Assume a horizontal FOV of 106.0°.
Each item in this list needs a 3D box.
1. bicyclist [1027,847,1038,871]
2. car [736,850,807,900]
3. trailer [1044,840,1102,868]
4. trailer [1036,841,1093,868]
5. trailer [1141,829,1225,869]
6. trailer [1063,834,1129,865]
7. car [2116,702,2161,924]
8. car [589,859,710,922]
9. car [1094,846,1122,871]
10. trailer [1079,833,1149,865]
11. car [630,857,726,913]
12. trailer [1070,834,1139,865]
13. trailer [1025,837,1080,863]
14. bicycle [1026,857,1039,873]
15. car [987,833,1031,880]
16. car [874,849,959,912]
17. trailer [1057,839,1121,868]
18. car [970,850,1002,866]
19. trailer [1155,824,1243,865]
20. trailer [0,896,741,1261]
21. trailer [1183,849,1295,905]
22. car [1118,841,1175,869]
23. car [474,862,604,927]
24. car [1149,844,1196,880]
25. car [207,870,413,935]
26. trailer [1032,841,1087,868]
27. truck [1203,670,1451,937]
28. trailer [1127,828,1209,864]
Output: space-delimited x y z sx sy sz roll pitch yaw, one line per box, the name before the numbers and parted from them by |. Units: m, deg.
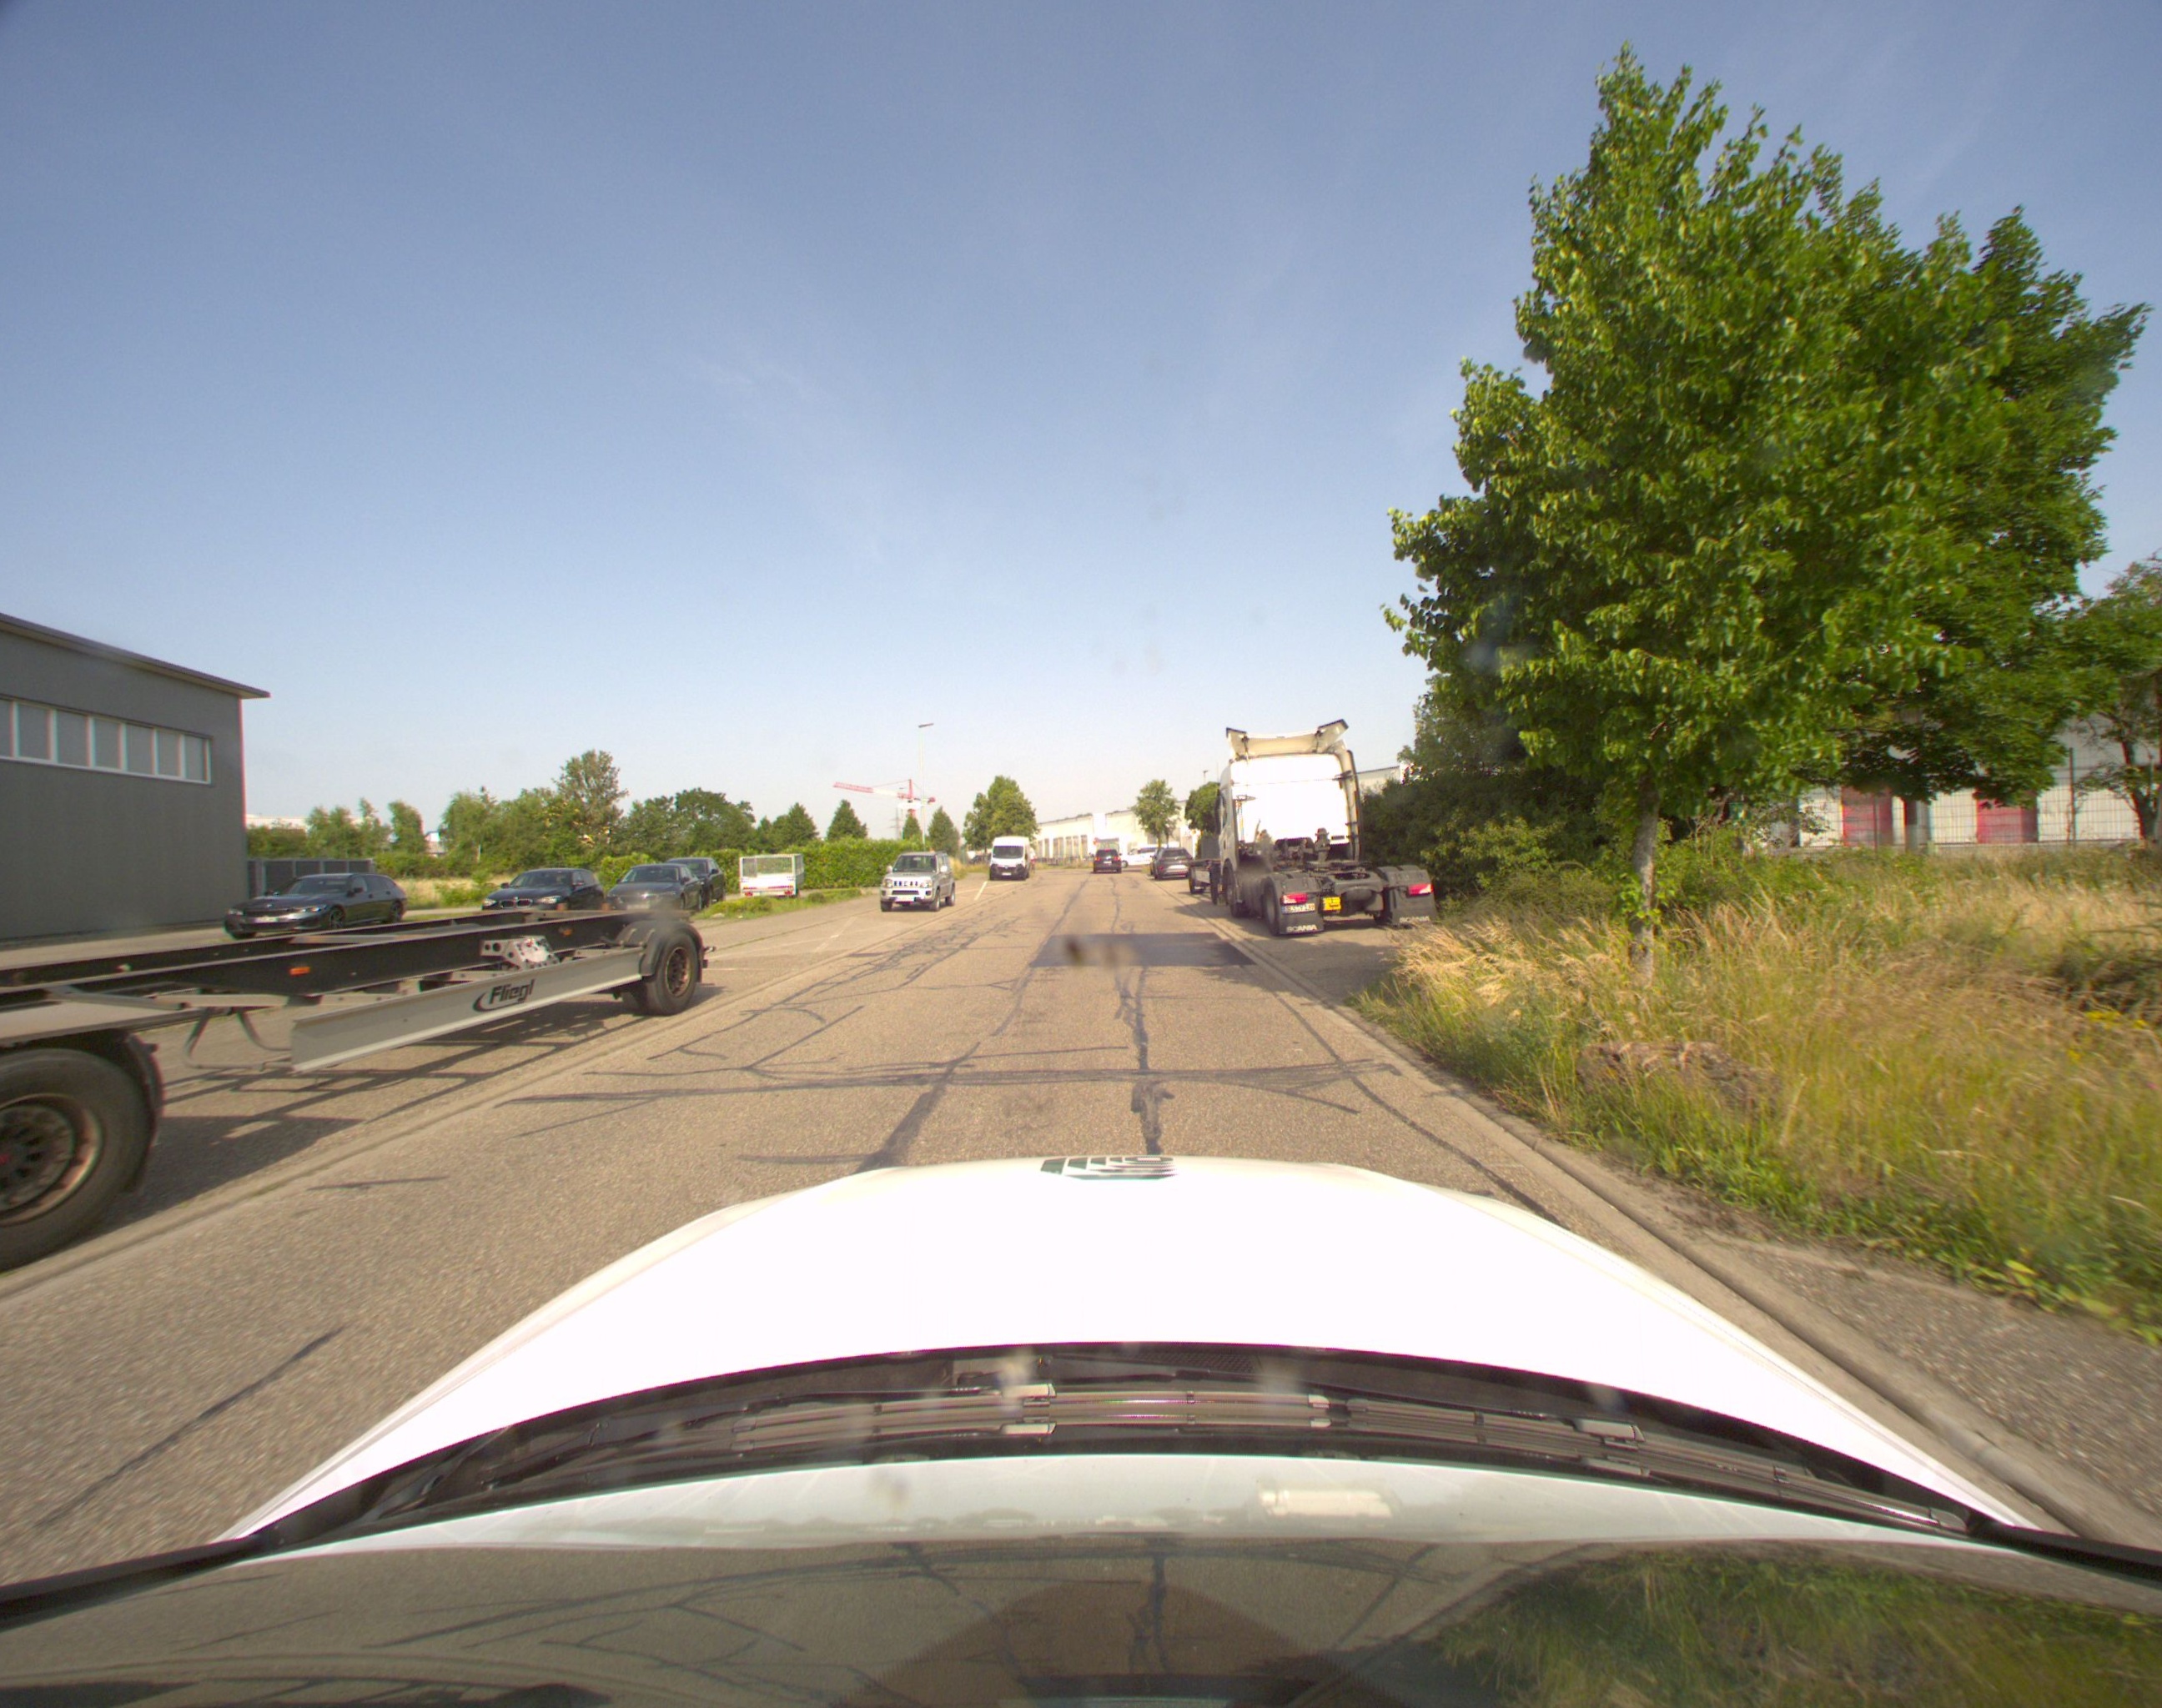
bicyclist | -3.660 0.371 61.543 0.637 1.719 1.166 -2 0 2
car | -10.348 0.664 27.459 1.836 1.572 3.797 0 0 -15
trailer | -1.160 -0.006 118.231 7.994 3.894 2.755 1 -1 -22
trailer | -2.417 0.059 120.973 7.994 3.894 2.755 1 -1 -22
trailer | 10.963 -0.547 87.303 8.567 3.893 2.756 -2 0 -21
trailer | 2.041 -0.571 108.832 8.340 3.894 2.755 1 -1 -22
car | 14.988 -0.448 7.935 2.588 2.525 5.978 1 -1 -39
car | -11.612 0.911 22.247 1.980 1.476 4.398 -1 0 -16
car | 1.838 0.324 55.357 1.873 1.586 4.115 0 -1 2
trailer | 4.192 -0.546 103.066 8.570 3.894 2.755 1 -1 -22
car | -13.124 0.939 26.802 1.993 1.658 4.398 -1 0 -16
trailer | 3.112 -0.513 106.047 8.570 3.894 2.755 1 -1 -22
trailer | -4.417 -0.550 126.762 7.994 3.894 2.755 1 -1 -22
bicycle | -3.658 0.828 61.425 0.713 1.122 2.220 -4 0 2
car | -4.190 0.158 48.560 2.096 2.595 6.500 1 0 -1
car | -4.722 0.705 23.889 1.591 1.651 3.646 -2 0 2
trailer | 1.115 -0.018 111.736 8.340 3.894 2.755 1 -1 -22
car | -9.639 0.410 82.631 1.979 1.574 4.079 -1 -1 -25
trailer | 12.179 -0.970 83.890 8.564 3.894 2.757 -1 -3 -20
trailer | -5.513 1.077 4.920 2.536 1.074 9.736 0 0 2
trailer | 4.273 0.545 23.316 1.931 1.235 7.454 -3 0 2
car | 5.419 0.105 67.841 4.595 2.110 2.127 -2 -1 -1
car | -14.160 0.985 21.555 1.683 1.476 4.324 -1 0 -18
car | 4.401 0.373 39.587 1.873 1.574 4.115 -3 -1 2
car | -18.804 1.112 20.188 1.995 1.324 4.324 -1 0 -18
trailer | -3.285 0.109 124.032 7.994 3.894 2.755 1 -1 -22
truck | 4.274 -0.791 15.651 2.683 3.964 6.047 -4 0 0
trailer | 9.620 -0.907 90.253 8.766 3.761 2.770 -1 -1 -22
